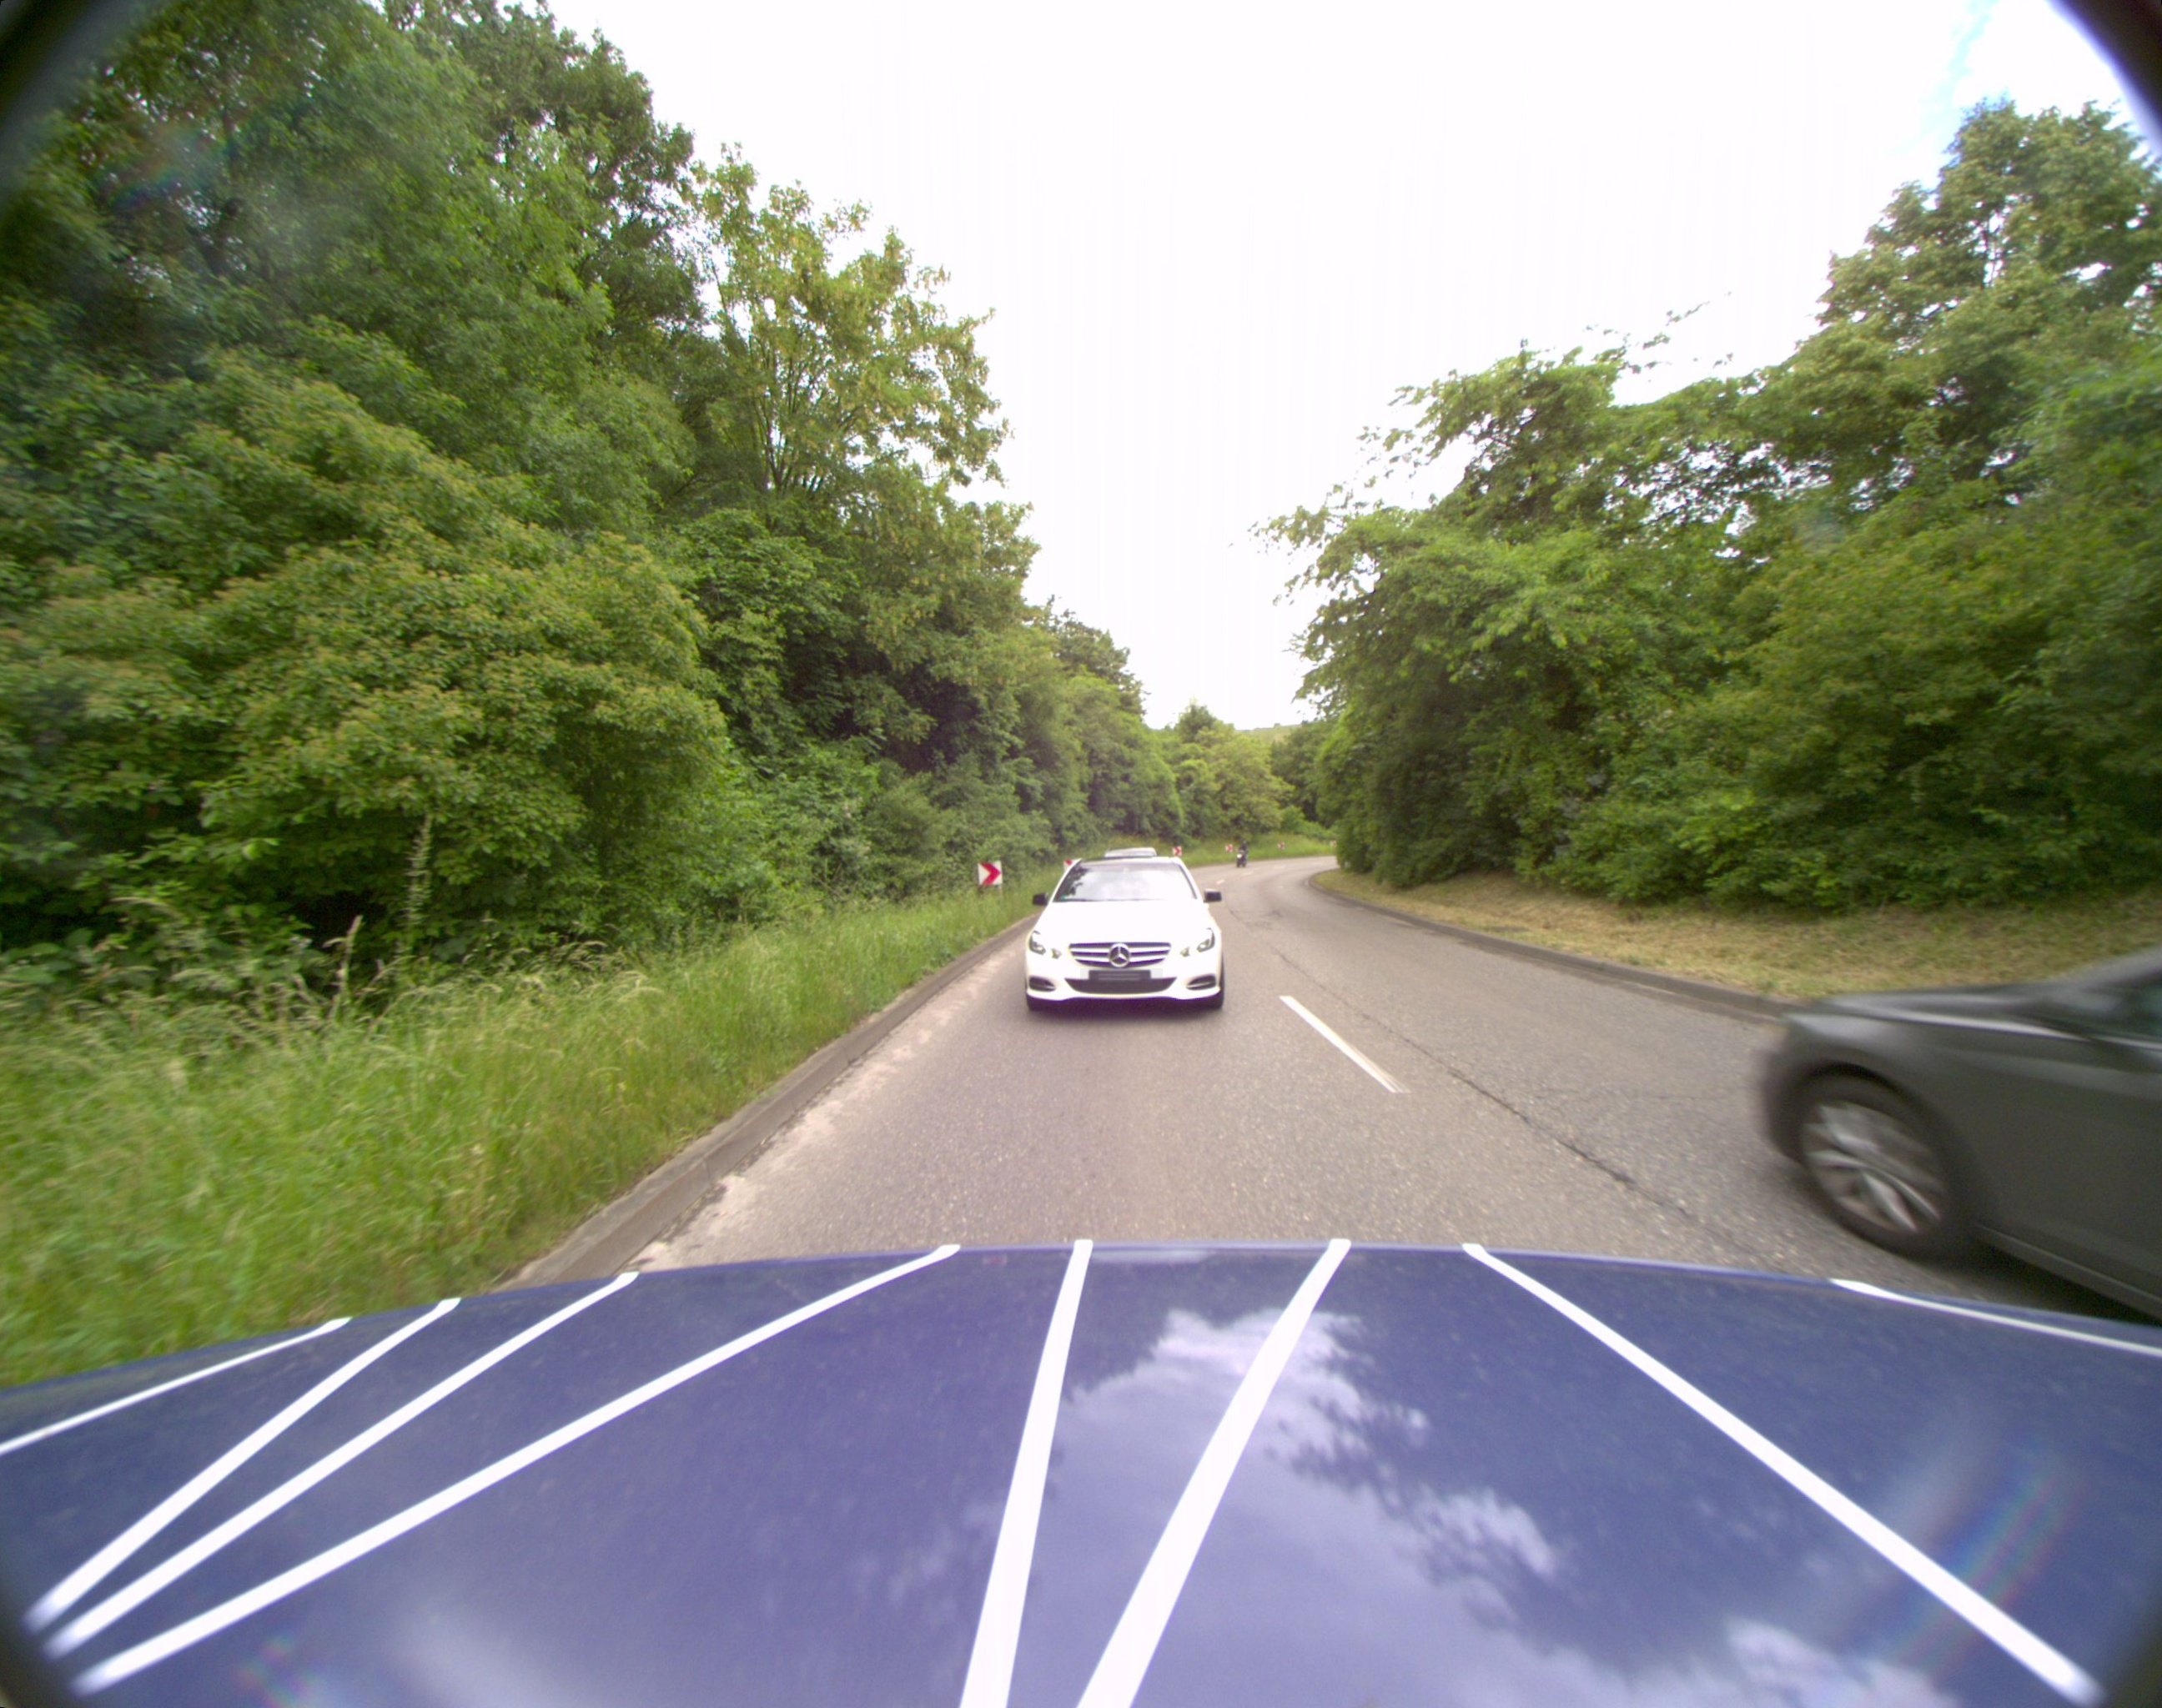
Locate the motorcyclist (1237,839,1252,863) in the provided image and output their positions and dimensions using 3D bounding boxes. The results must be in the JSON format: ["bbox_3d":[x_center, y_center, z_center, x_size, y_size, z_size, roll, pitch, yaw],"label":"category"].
[{"bbox_3d":[10.410,-0.188,48.303,0.817,1.457,0.788,2,2,20],"label":"motorcyclist"}]

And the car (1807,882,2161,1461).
[{"bbox_3d":[3.535,0.836,1.069,1.637,1.397,3.597,-2,1,1],"label":"car"}]

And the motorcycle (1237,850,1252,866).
[{"bbox_3d":[10.381,0.223,48.265,0.701,0.970,1.696,1,2,19],"label":"motorcycle"}]

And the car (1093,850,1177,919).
[{"bbox_3d":[1.477,0.702,19.359,1.821,1.536,3.728,-2,1,8],"label":"car"}]

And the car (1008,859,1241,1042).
[{"bbox_3d":[0.496,0.827,8.311,1.887,1.414,4.001,-2,1,4],"label":"car"}]
